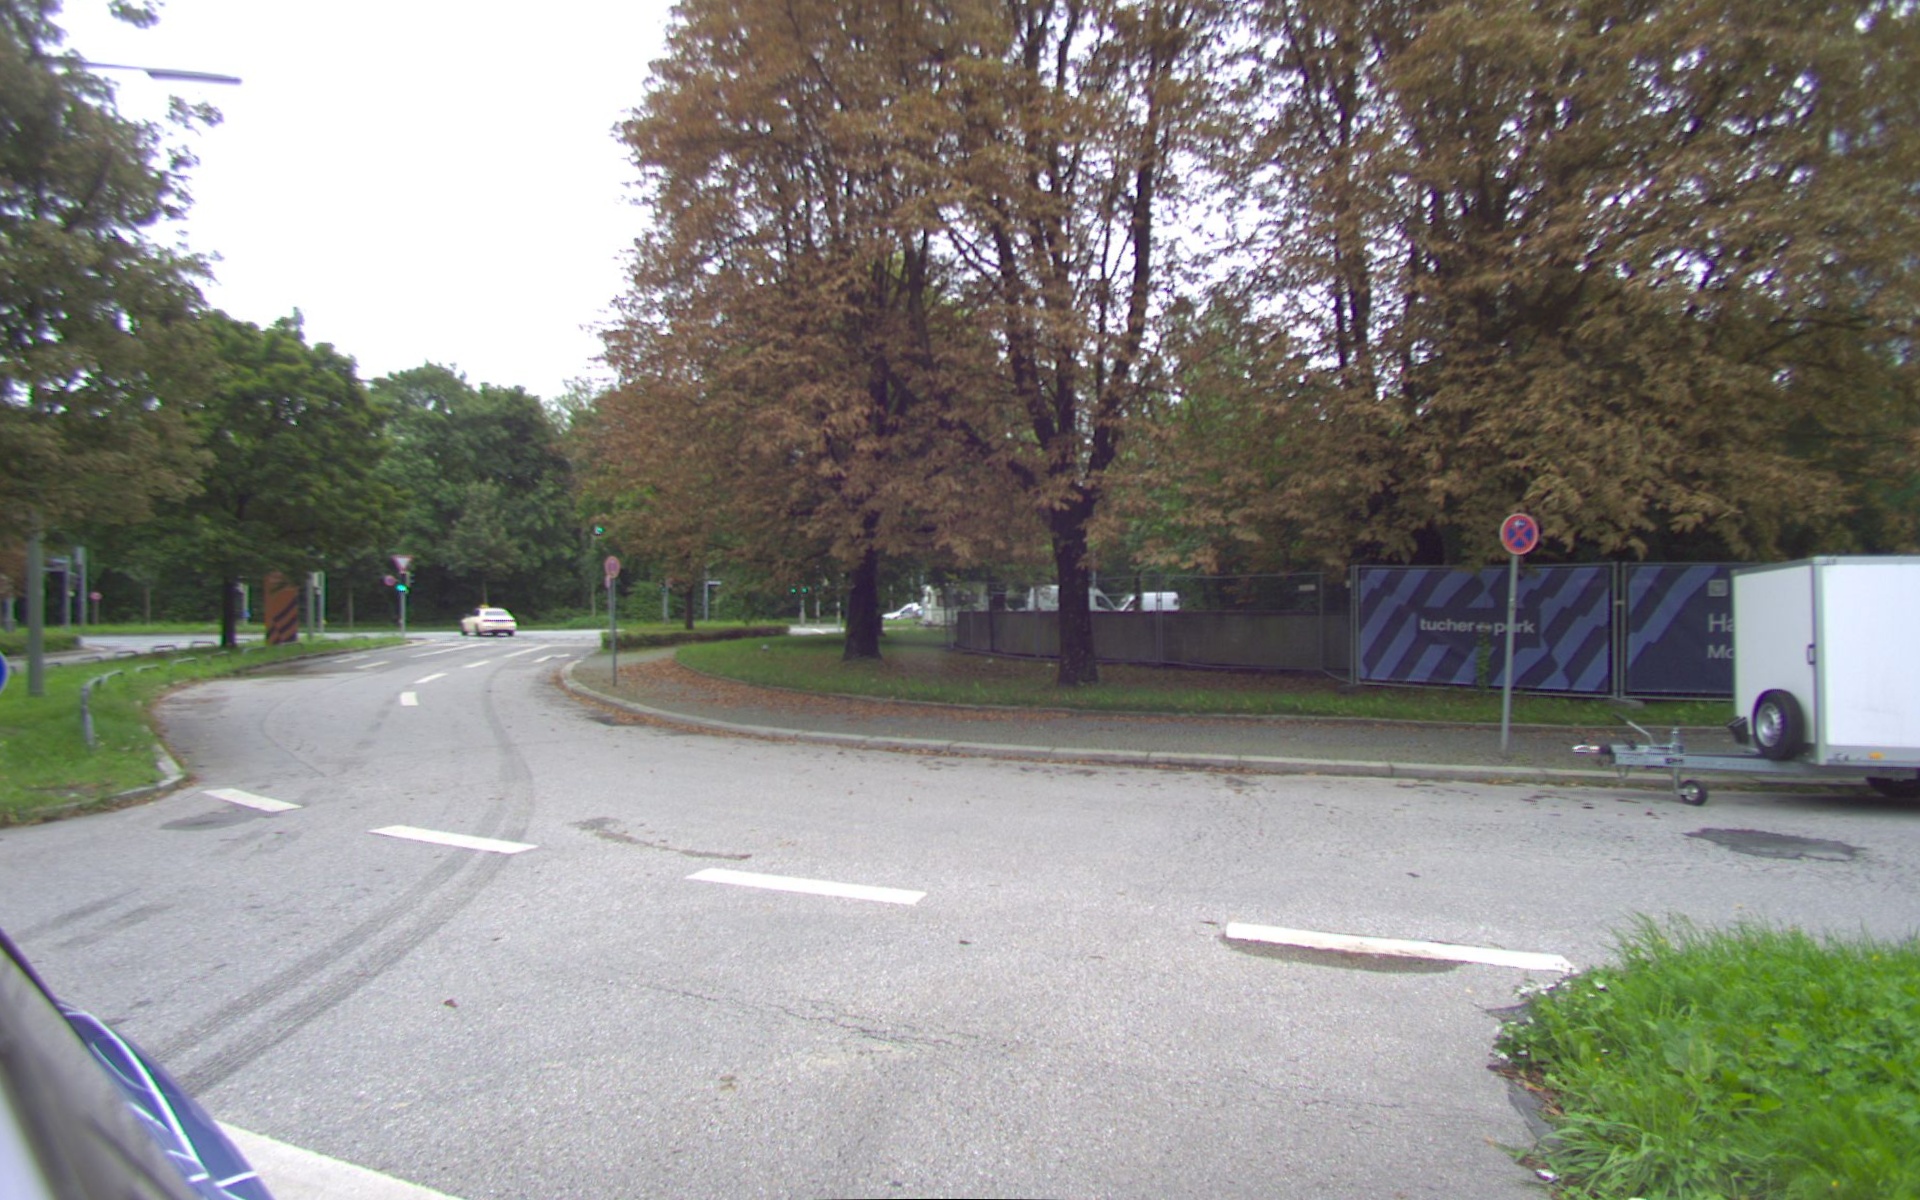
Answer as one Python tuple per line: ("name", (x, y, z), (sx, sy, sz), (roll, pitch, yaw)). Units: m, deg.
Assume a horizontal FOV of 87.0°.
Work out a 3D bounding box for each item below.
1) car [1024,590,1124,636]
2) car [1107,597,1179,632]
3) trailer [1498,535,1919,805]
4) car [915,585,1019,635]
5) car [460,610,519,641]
("car", (6.628, 0.762, 58.844), (5.367, 2.600, 2.082), (0, -1, -13))
("car", (14.146, 1.105, 78.214), (5.051, 2.600, 2.082), (0, -1, -12))
("trailer", (7.427, 0.537, 8.502), (4.792, 2.029, 1.805), (-1, -1, 17))
("car", (0.376, 0.582, 57.164), (5.503, 2.755, 2.082), (0, -1, -13))
("car", (-25.030, 1.360, 53.771), (1.863, 1.557, 4.864), (1, -1, -37))
